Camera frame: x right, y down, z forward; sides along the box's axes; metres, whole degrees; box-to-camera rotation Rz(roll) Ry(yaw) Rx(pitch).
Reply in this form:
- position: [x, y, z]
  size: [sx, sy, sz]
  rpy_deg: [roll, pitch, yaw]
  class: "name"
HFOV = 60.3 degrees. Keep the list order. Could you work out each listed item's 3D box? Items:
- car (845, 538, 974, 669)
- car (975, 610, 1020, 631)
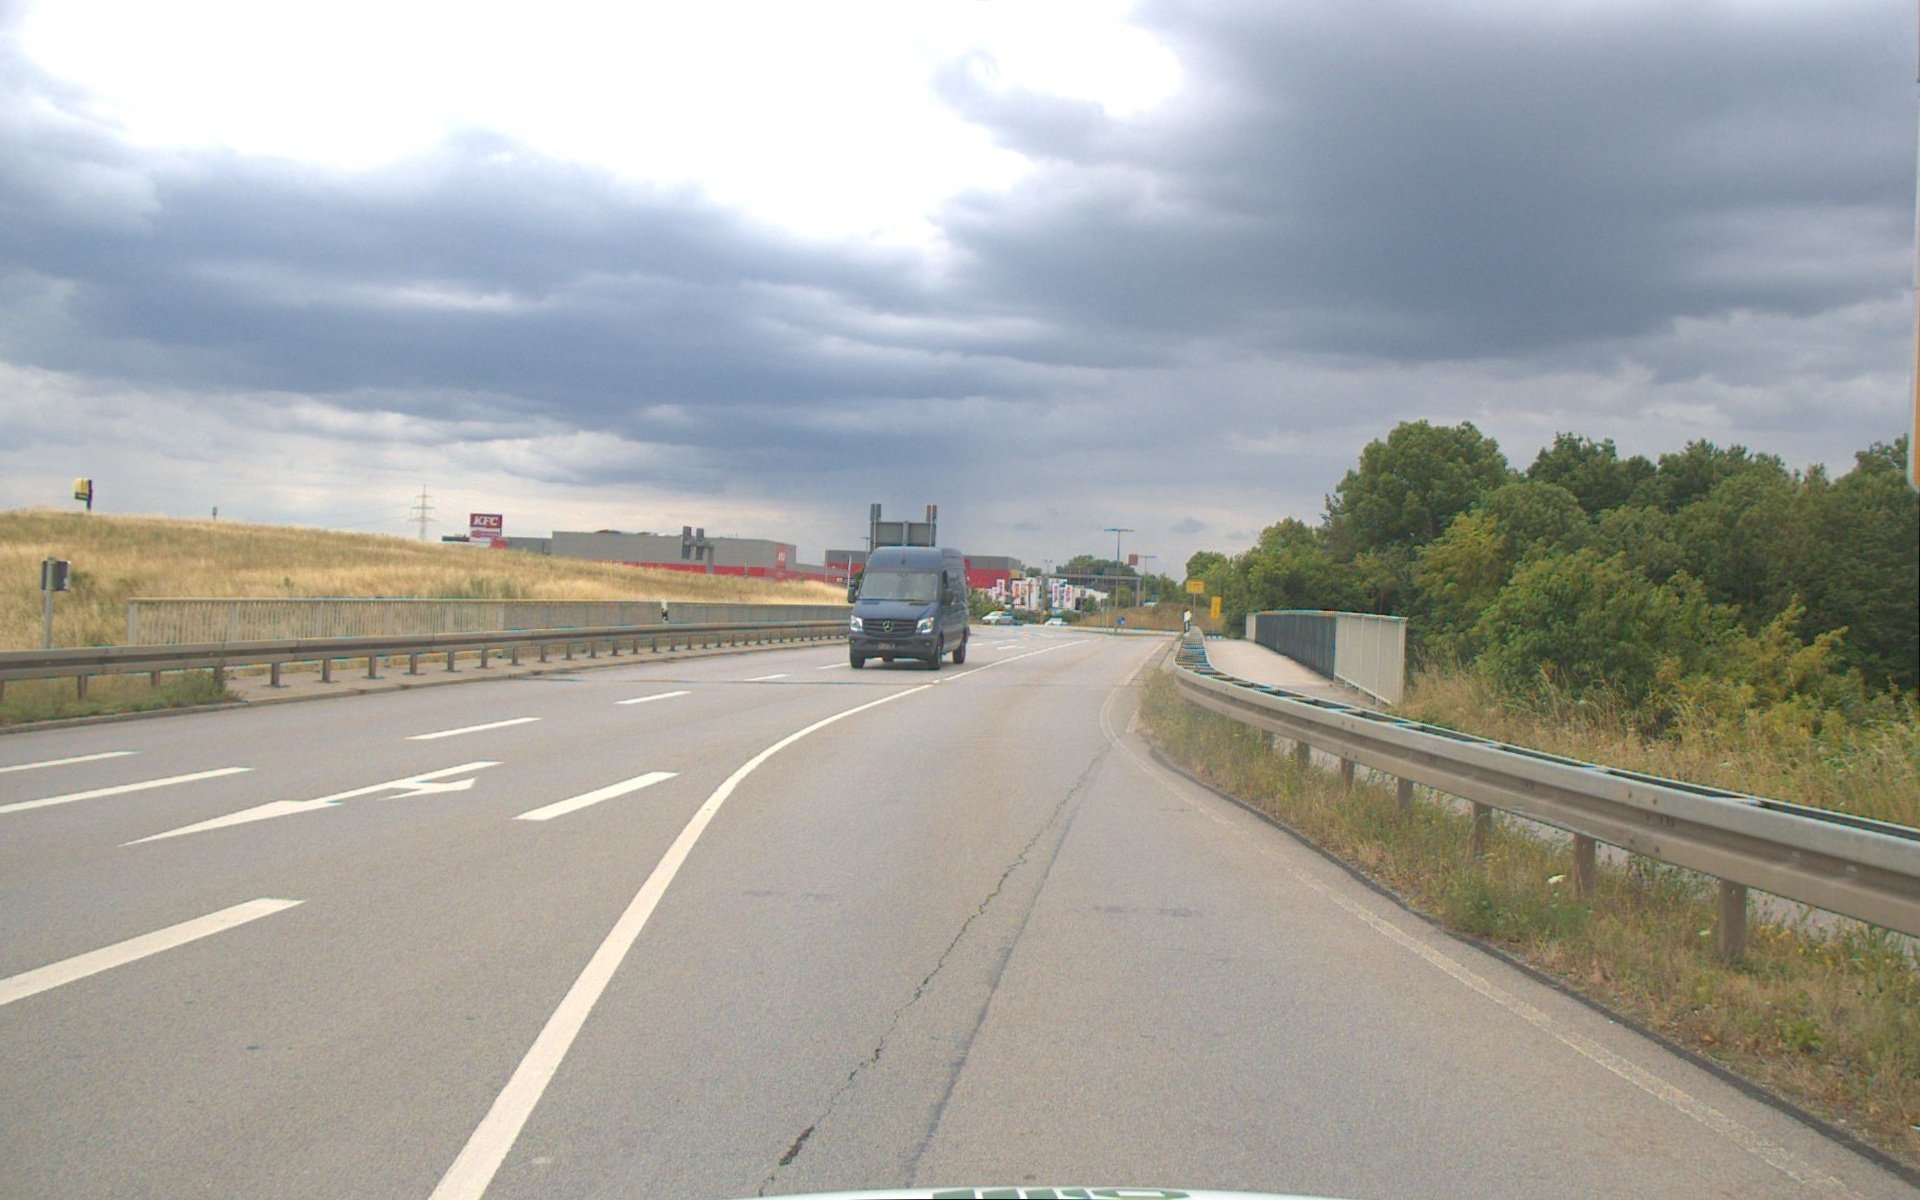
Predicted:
- position: [-1.010, 0.081, 36.929]
  size: [1.951, 2.637, 6.008]
  rpy_deg: [1, 0, 7]
  class: "car"
- position: [3.750, 2.049, 165.707]
  size: [3.914, 1.909, 1.996]
  rpy_deg: [3, 0, 31]
  class: "car"
